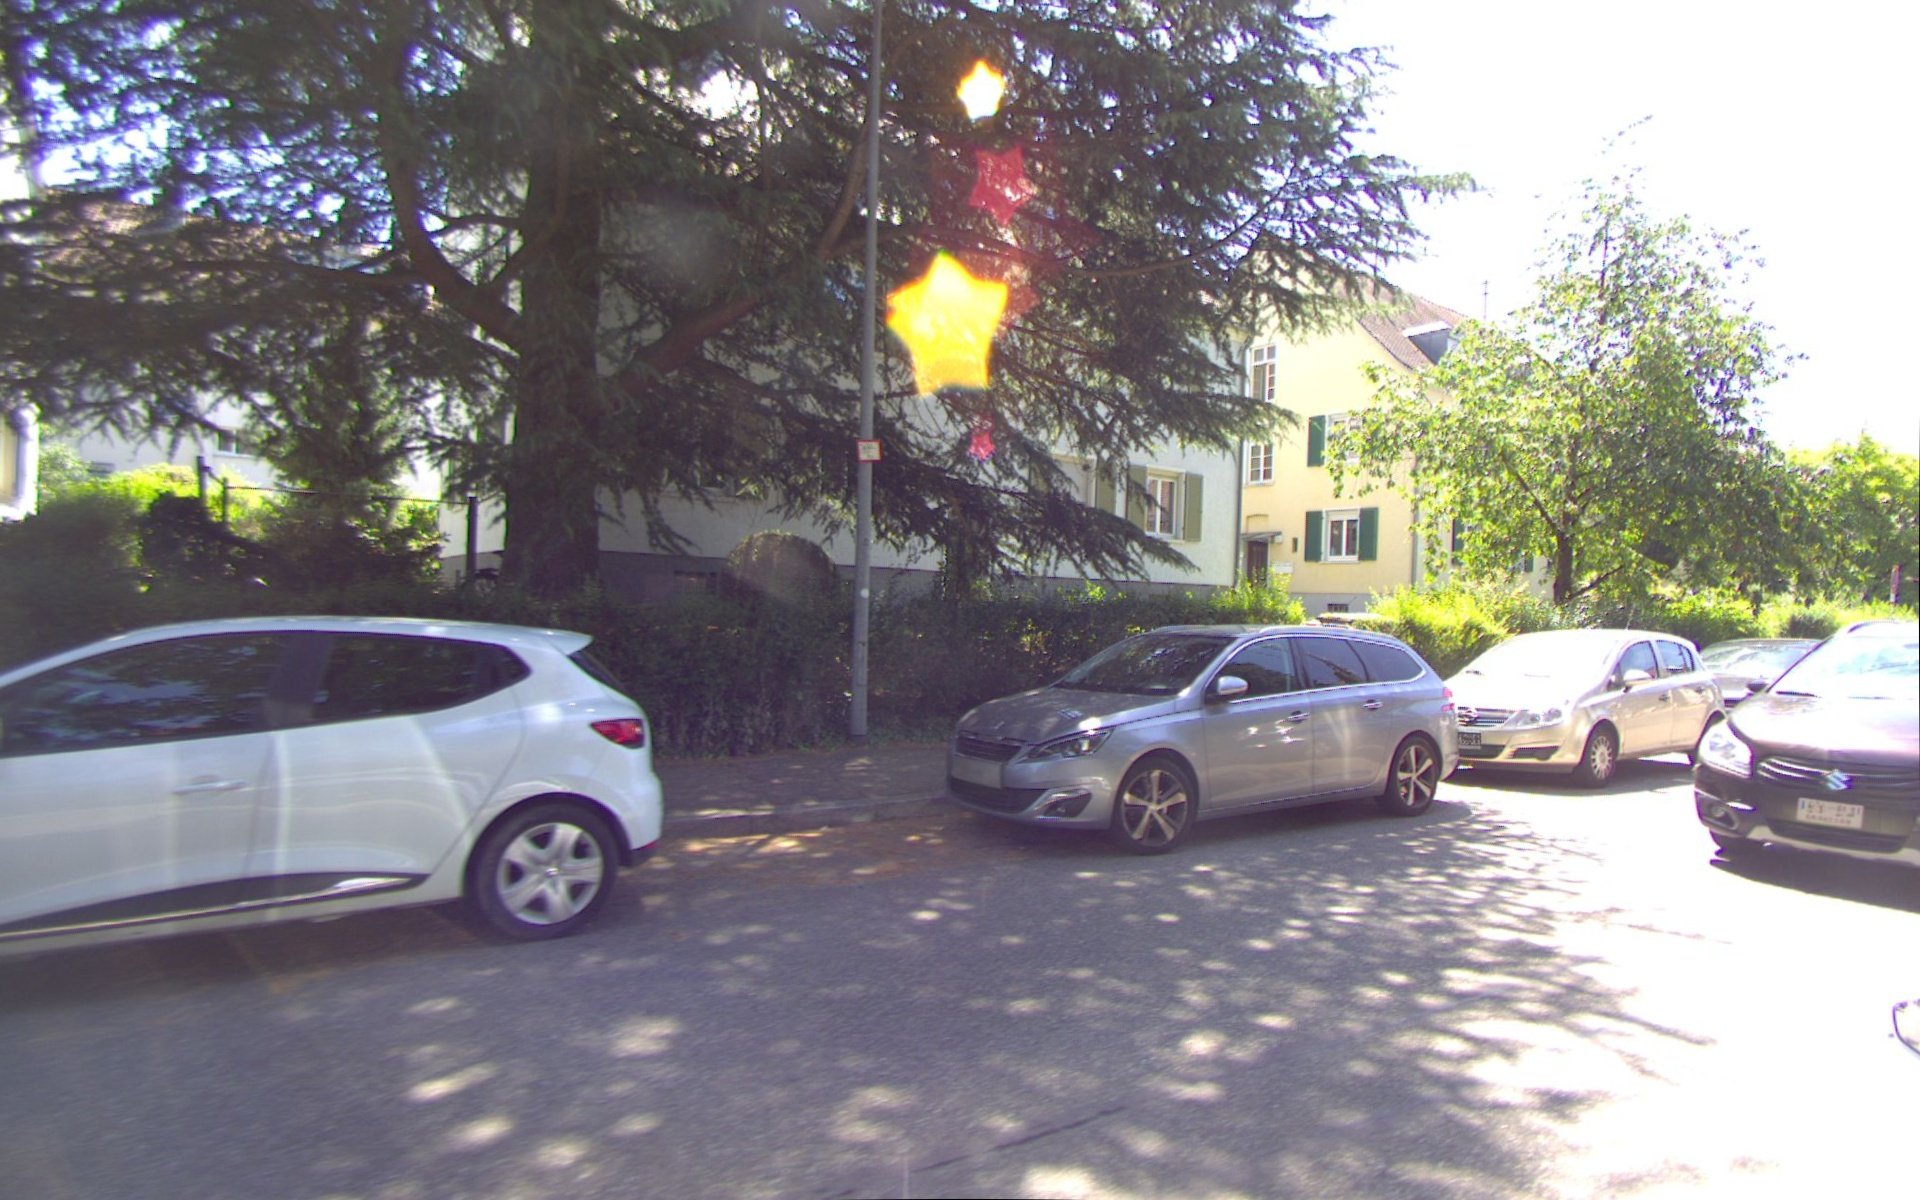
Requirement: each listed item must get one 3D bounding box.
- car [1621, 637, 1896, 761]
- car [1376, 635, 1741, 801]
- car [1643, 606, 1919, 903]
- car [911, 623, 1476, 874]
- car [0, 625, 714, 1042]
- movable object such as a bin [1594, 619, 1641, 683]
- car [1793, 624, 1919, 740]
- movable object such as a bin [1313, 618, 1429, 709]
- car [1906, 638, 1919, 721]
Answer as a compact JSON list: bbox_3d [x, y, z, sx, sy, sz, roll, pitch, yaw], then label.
[{"bbox_3d":[10.616,1.208,13.311,3.747,1.419,1.673,1,-2,-31],"label":"car"},{"bbox_3d":[6.355,1.108,10.609,3.742,1.461,1.787,1,-2,-31],"label":"car"},{"bbox_3d":[6.660,0.880,6.850,4.096,1.595,1.888,1,-1,-33],"label":"car"},{"bbox_3d":[1.890,0.933,7.738,4.224,1.461,1.787,1,-2,-31],"label":"car"},{"bbox_3d":[-3.285,0.858,4.624,3.851,1.461,1.788,1,-2,-31],"label":"car"},{"bbox_3d":[15.275,1.171,23.338,0.909,1.472,0.652,1,-1,-36],"label":"movable object such as a bin"},{"bbox_3d":[14.951,1.236,15.960,3.751,1.661,1.671,1,-2,-34],"label":"car"},{"bbox_3d":[5.858,0.878,14.321,1.279,1.215,0.968,-1,-2,42],"label":"movable object such as a bin"},{"bbox_3d":[19.418,1.468,18.883,4.290,1.495,1.669,2,-2,-37],"label":"car"}]
